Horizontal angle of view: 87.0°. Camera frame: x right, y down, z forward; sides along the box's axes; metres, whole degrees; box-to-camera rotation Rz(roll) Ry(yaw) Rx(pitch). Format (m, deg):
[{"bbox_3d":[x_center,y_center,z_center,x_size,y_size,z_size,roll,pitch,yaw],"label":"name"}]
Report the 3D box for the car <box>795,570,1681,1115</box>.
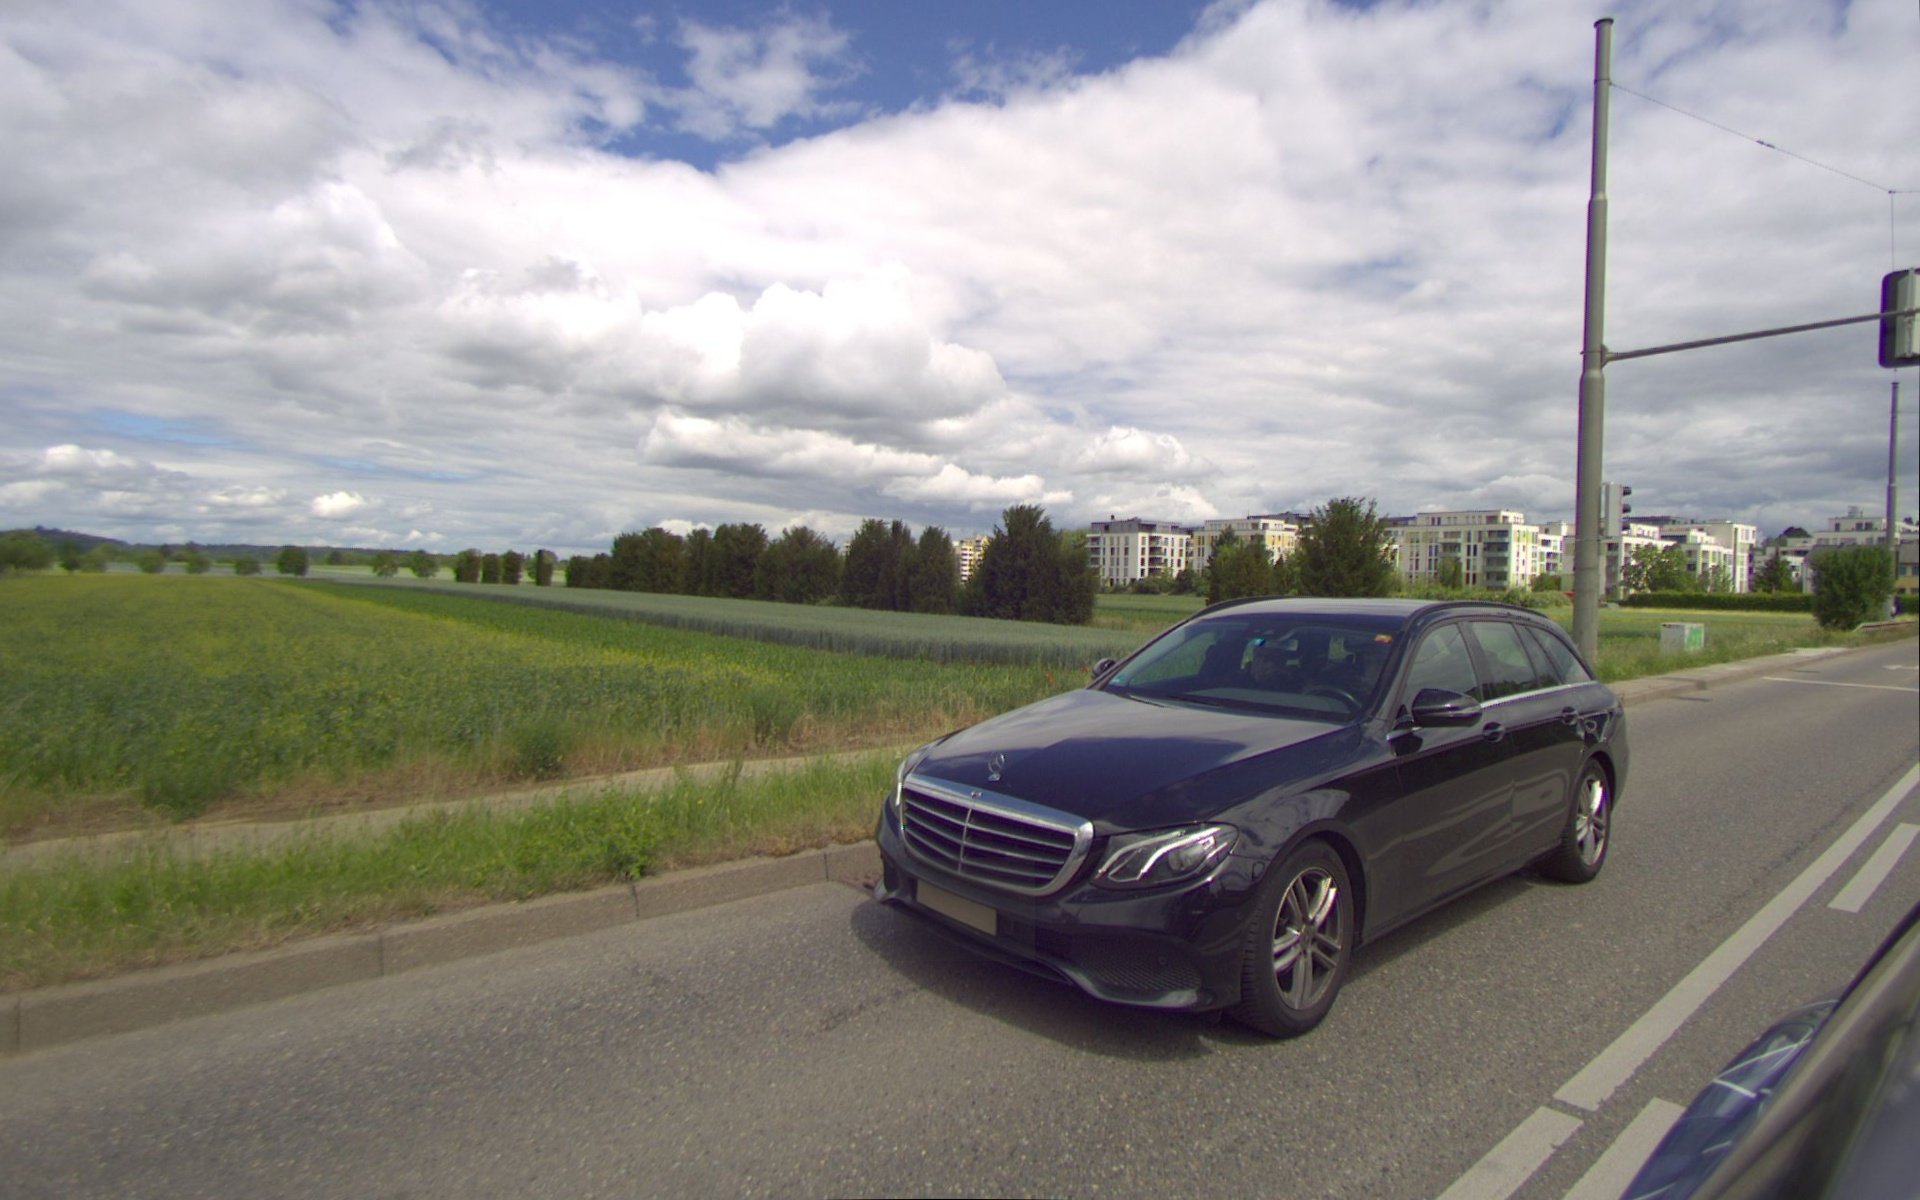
[{"bbox_3d":[1.850,0.639,5.153,5.110,1.458,1.876,0,2,-42],"label":"car"}]
